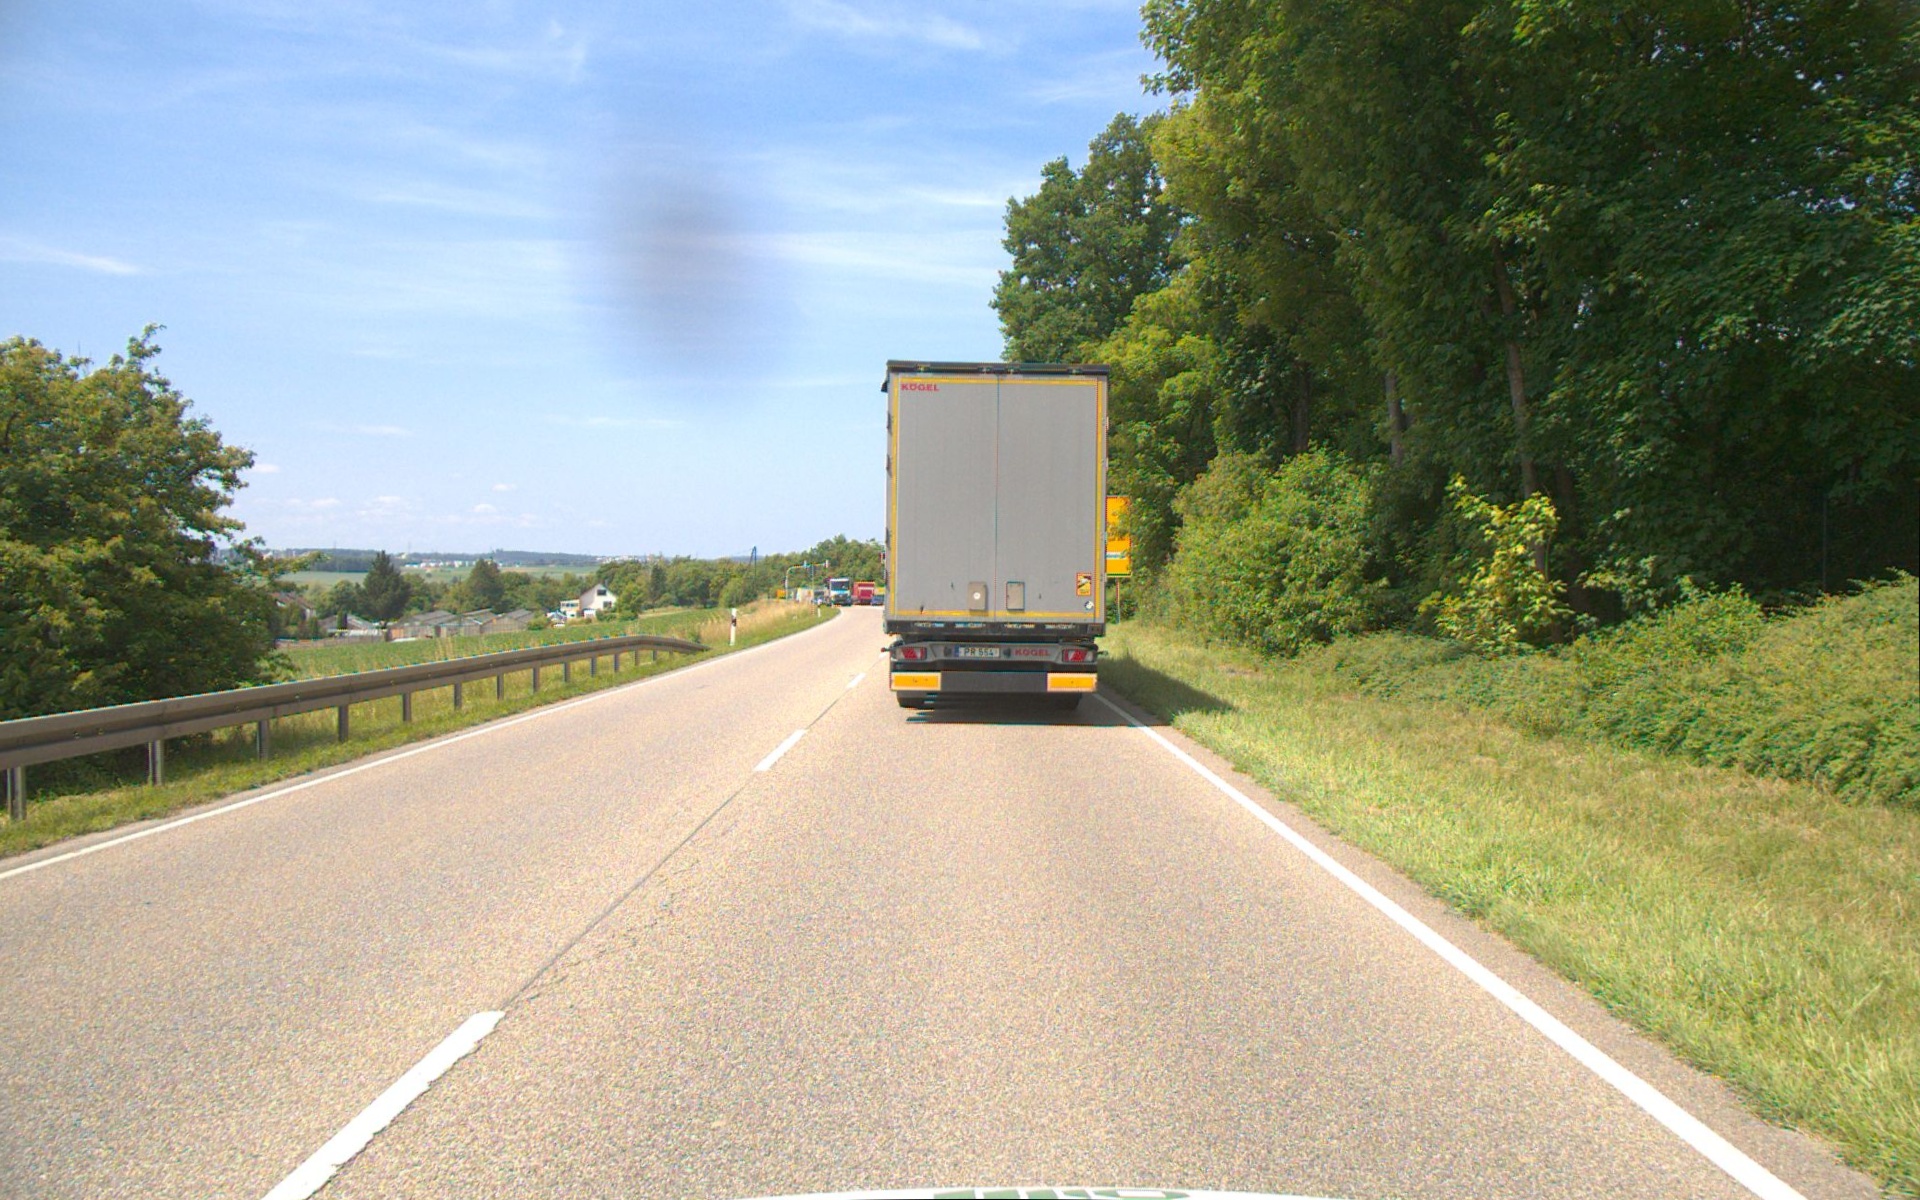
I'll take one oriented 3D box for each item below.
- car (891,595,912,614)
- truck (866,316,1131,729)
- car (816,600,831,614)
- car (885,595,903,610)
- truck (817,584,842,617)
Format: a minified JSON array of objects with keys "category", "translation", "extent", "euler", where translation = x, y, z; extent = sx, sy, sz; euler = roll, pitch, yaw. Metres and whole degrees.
[{"category":"car","translation":[-6.763,0.521,190.248],"extent":[2.129,2.049,4.521],"euler":[-2,0,-6]},{"category":"truck","translation":[0.383,-0.873,22.496],"extent":[2.848,4.487,8.859],"euler":[1,0,-1]},{"category":"car","translation":[-20.365,1.061,247.355],"extent":[1.956,1.984,4.494],"euler":[-3,0,-8]},{"category":"car","translation":[-8.153,0.294,203.628],"extent":[1.856,1.808,4.381],"euler":[-2,0,-6]},{"category":"truck","translation":[-15.388,0.144,194.507],"extent":[2.703,3.638,11.052],"euler":[-2,0,-5]}]
